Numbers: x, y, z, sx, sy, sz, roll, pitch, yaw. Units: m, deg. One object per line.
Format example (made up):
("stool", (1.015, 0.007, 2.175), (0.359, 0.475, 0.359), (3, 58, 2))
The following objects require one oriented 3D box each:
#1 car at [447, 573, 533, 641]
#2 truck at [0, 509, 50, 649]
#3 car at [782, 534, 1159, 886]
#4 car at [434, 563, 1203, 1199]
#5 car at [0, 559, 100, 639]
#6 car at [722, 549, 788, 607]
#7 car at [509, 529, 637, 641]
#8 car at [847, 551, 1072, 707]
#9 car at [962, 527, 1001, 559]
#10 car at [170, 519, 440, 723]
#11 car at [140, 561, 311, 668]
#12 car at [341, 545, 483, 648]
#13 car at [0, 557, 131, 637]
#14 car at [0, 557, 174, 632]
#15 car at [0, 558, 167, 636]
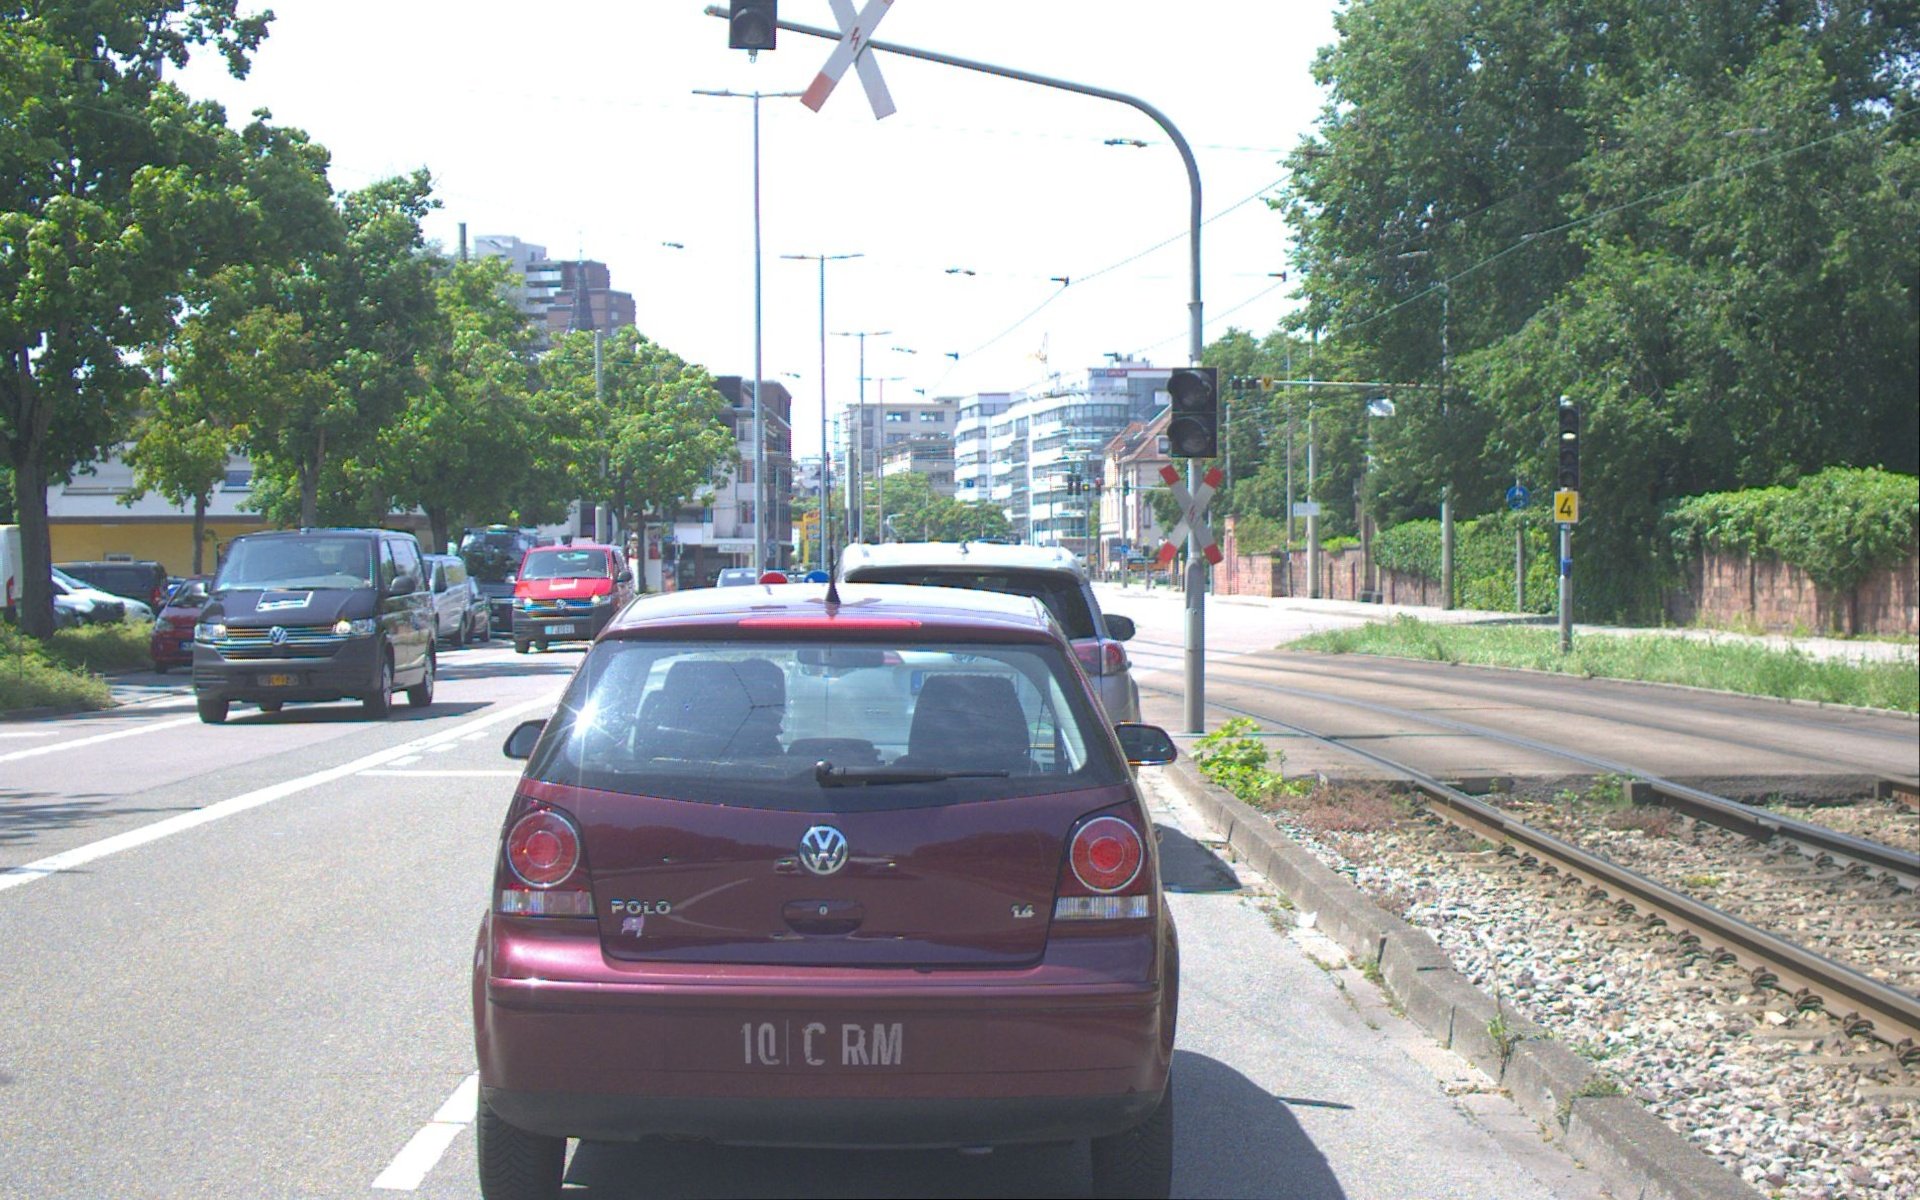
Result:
("car", (-10.790, 0.143, 79.074), (1.405, 1.435, 3.839), (3, 1, 0))
("truck", (-21.421, -0.399, 69.083), (5.578, 2.750, 2.432), (-1, 1, 1))
("car", (0.020, 0.507, 18.578), (1.795, 1.677, 4.000), (1, 1, -1))
("car", (-0.329, 0.662, 9.269), (1.609, 1.493, 4.000), (1, 1, -1))
("car", (-21.668, -0.016, 77.260), (4.209, 1.759, 1.857), (-1, 1, -2))
("car", (-6.126, -0.658, 102.907), (1.737, 1.651, 4.067), (-1, 1, -1))
("car", (-7.022, -0.303, 62.811), (1.898, 1.919, 4.820), (-2, 1, -2))
("car", (0.050, 0.283, 38.559), (1.775, 1.625, 3.998), (1, 1, 11))
("car", (1.277, -3.468, 209.929), (1.918, 1.904, 4.572), (-1, 1, -5))
("car", (-6.635, 0.170, 35.309), (1.918, 1.904, 4.571), (-2, 1, -1))
("car", (-11.088, 0.205, 52.126), (1.672, 1.541, 3.726), (1, 0, 2))
("car", (-11.033, -0.093, 69.491), (1.863, 1.930, 4.805), (3, 1, 2))
("car", (-21.794, -0.067, 79.709), (4.718, 1.807, 1.797), (-1, 1, -2))
("car", (-22.054, -0.139, 85.270), (4.718, 1.807, 1.797), (-1, 1, -2))
("car", (-21.656, -0.079, 82.712), (4.718, 1.807, 1.797), (-1, 1, -2))
